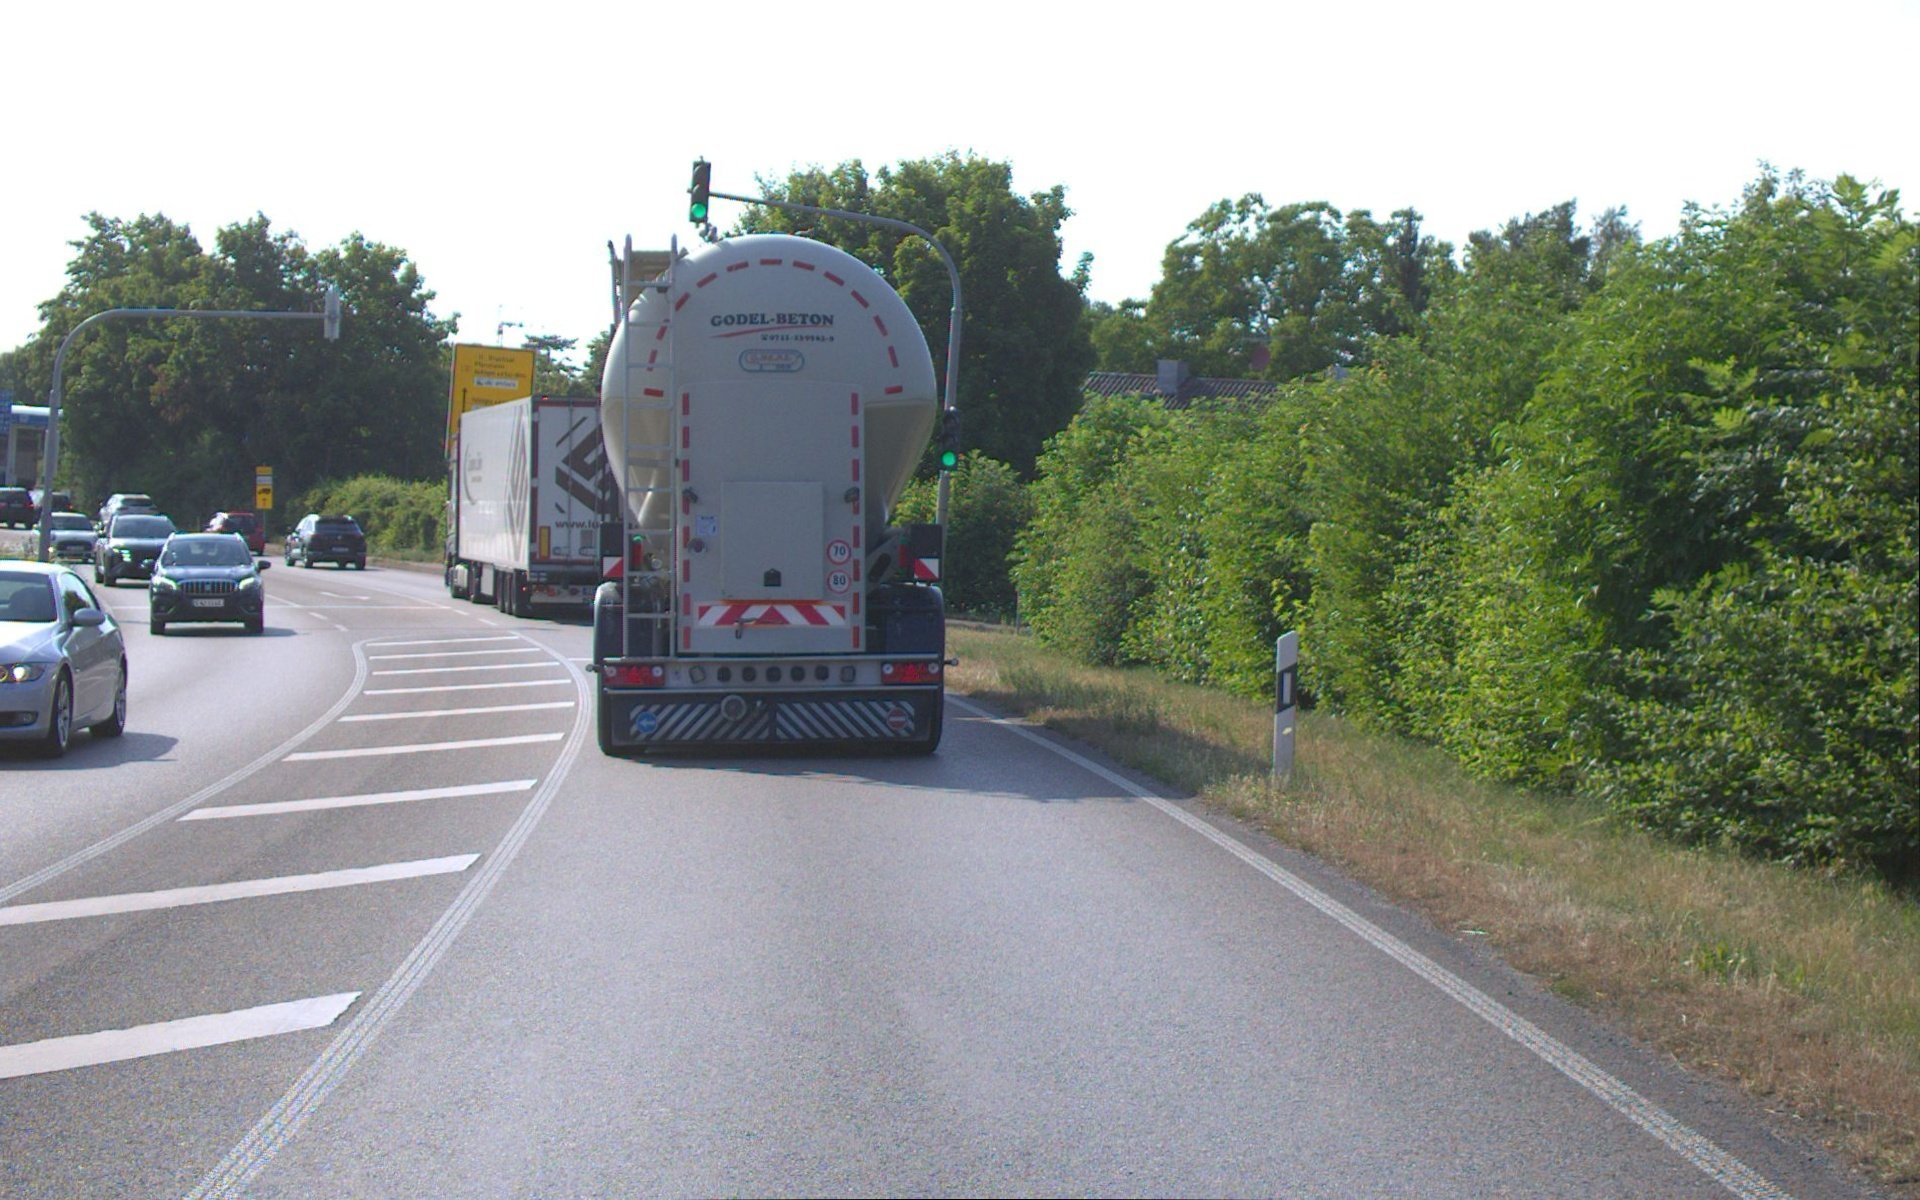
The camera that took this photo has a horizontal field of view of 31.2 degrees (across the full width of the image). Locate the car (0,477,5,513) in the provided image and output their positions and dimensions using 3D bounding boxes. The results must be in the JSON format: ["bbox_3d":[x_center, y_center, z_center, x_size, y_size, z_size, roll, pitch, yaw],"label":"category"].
[{"bbox_3d":[-44.258,-4.754,154.355,2.084,1.594,4.001,2,1,-24],"label":"car"}]

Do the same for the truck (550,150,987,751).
[{"bbox_3d":[-1.900,-1.049,30.162,2.975,4.161,11.664,2,0,-5],"label":"truck"}]

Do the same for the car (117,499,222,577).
[{"bbox_3d":[-18.491,-1.476,80.537,1.993,1.719,4.427,2,2,-8],"label":"car"}]

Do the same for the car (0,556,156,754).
[{"bbox_3d":[-7.196,0.341,25.425,1.699,1.329,4.750,1,0,-4],"label":"car"}]

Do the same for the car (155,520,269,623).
[{"bbox_3d":[-12.061,-0.450,55.577,1.694,1.547,4.153,2,0,-12],"label":"car"}]

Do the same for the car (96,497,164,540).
[{"bbox_3d":[-34.014,-3.331,140.876,1.841,1.650,4.001,2,0,-26],"label":"car"}]

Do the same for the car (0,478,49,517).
[{"bbox_3d":[-40.221,-4.397,146.929,1.881,1.594,4.001,2,1,-24],"label":"car"}]

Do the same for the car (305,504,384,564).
[{"bbox_3d":[-18.114,-1.931,101.128,1.993,1.650,4.001,2,0,-14],"label":"car"}]

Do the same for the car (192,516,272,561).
[{"bbox_3d":[-24.790,-2.080,117.050,1.683,1.463,4.001,2,0,-26],"label":"car"}]

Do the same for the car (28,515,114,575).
[{"bbox_3d":[-25.828,-1.588,99.772,1.841,1.650,4.001,2,0,-22],"label":"car"}]

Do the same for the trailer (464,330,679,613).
[{"bbox_3d":[-7.540,-2.268,65.439,2.963,4.865,10.291,2,0,-12],"label":"trailer"}]

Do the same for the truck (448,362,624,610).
[{"bbox_3d":[-8.976,-2.286,72.181,2.962,4.870,6.432,2,0,-12],"label":"truck"}]
